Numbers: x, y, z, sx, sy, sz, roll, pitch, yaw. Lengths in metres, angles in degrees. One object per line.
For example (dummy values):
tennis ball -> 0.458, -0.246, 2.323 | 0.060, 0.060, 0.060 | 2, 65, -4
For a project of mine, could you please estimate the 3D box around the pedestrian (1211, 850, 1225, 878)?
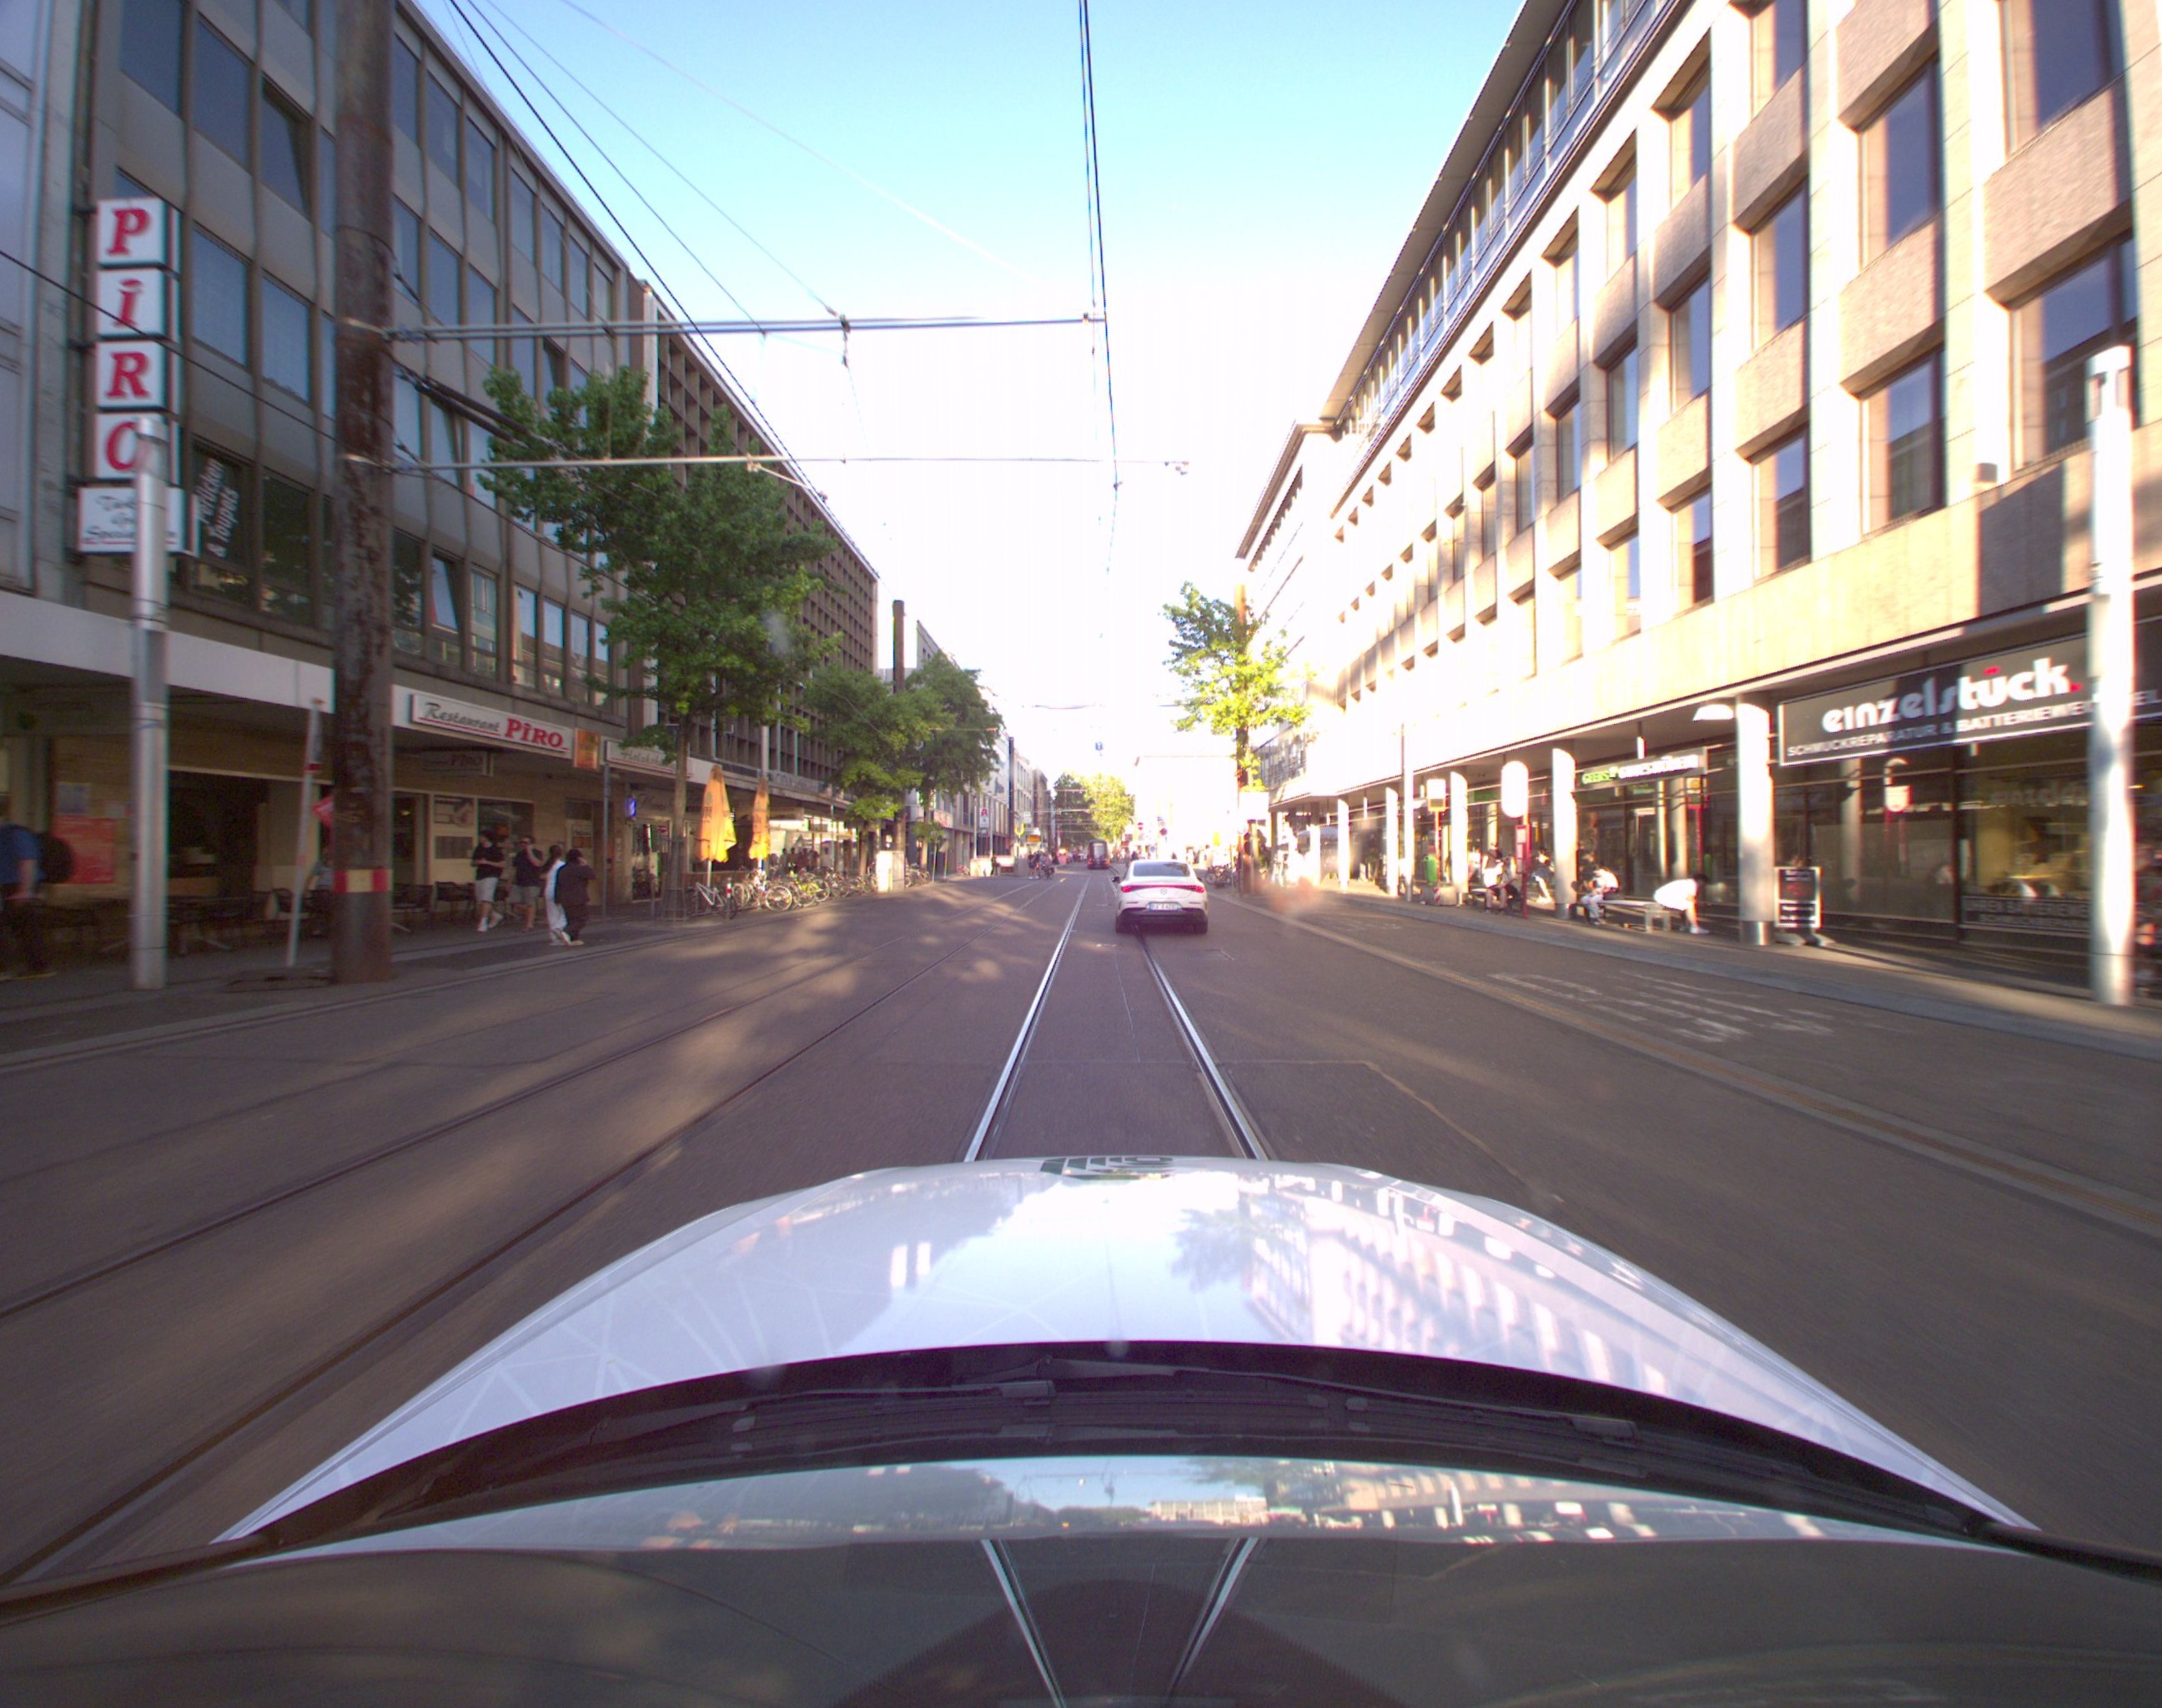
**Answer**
pedestrian -> 8.836, 0.623, 52.543 | 0.746, 1.785, 0.767 | -2, 0, 0

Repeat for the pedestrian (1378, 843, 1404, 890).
pedestrian -> 10.975, 0.435, 28.804 | 0.634, 1.653, 0.781 | 0, 0, 2

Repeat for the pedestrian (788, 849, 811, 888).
pedestrian -> -11.408, 0.574, 32.977 | 0.713, 1.547, 0.683 | -1, 0, -5

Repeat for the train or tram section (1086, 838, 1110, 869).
train or tram section -> 2.109, -0.008, 99.461 | 2.685, 3.516, 12.548 | -1, 0, 1

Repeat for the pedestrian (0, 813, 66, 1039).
pedestrian -> -8.756, 0.548, 6.325 | 0.842, 1.741, 0.839 | 1, 0, 21

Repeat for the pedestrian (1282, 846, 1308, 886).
pedestrian -> 9.690, 0.545, 36.907 | 0.897, 1.744, 0.689 | -4, 0, 0

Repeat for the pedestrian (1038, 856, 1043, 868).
pedestrian -> -5.252, 1.049, 105.267 | 0.658, 1.599, 0.573 | -1, 0, 0

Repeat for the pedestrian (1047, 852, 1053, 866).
pedestrian -> -3.623, 0.583, 96.476 | 0.658, 1.599, 0.573 | -1, 0, 0

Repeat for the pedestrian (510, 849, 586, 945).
pedestrian -> -8.755, 0.683, 13.408 | 0.620, 1.509, 0.833 | 2, 0, 2

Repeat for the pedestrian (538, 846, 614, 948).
pedestrian -> -8.051, 0.666, 13.014 | 0.620, 1.550, 0.852 | 2, 0, 2

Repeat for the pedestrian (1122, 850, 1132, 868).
pedestrian -> 4.683, 0.542, 83.414 | 0.957, 1.785, 0.804 | -2, 0, 0

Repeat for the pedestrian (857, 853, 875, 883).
pedestrian -> -12.686, 0.814, 48.059 | 0.813, 1.762, 0.779 | -1, 0, -1

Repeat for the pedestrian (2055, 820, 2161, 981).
pedestrian -> 11.626, 0.487, 8.981 | 0.741, 1.700, 0.858 | 0, 0, 1

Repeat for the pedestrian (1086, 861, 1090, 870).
pedestrian -> 1.244, 1.956, 141.380 | 0.602, 1.630, 0.531 | -1, 0, 1

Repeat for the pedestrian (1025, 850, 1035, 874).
pedestrian -> -4.059, 0.624, 65.346 | 0.534, 1.929, 0.576 | -1, -1, 45

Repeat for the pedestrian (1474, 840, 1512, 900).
pedestrian -> 12.251, 0.460, 24.234 | 0.713, 1.741, 0.835 | 0, 0, 1

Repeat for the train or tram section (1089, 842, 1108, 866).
train or tram section -> 2.678, 0.036, 123.854 | 2.685, 3.516, 11.145 | -1, 0, 1

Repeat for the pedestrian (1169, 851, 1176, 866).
pedestrian -> 11.156, 0.516, 99.023 | 0.724, 1.785, 0.707 | 0, 0, 0

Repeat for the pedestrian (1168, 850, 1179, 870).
pedestrian -> 7.778, 0.534, 68.692 | 0.834, 1.662, 0.786 | -1, 0, 3

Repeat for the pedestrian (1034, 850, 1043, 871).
pedestrian -> -3.617, 0.558, 68.632 | 0.544, 1.760, 0.524 | -1, 0, 29

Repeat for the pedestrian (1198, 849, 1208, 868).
pedestrian -> 11.337, 0.402, 75.688 | 0.815, 1.685, 0.804 | -2, 0, 0

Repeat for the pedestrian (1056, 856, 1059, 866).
pedestrian -> -3.675, 1.050, 125.936 | 0.412, 1.630, 0.606 | -1, 0, 1

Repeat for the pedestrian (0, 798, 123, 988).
pedestrian -> -11.305, 0.381, 8.693 | 0.798, 1.923, 1.070 | 2, 0, -2

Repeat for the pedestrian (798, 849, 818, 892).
pedestrian -> -11.482, 0.690, 34.221 | 0.717, 1.767, 0.679 | -1, 0, -23

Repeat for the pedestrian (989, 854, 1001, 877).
pedestrian -> -6.464, 0.873, 61.362 | 0.837, 1.717, 0.783 | -1, 0, -8

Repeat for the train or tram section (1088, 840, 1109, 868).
train or tram section -> 2.405, 0.012, 112.014 | 2.685, 3.516, 12.548 | -1, 0, 1

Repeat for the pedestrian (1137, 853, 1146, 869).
pedestrian -> 7.112, 0.809, 95.856 | 0.957, 1.785, 0.804 | -2, 0, 0

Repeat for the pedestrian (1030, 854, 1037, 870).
pedestrian -> -4.372, 0.735, 75.061 | 0.613, 1.545, 0.650 | -1, 0, -1

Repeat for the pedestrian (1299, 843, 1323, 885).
pedestrian -> 10.350, 0.462, 36.651 | 0.699, 1.812, 1.033 | -4, 0, 1

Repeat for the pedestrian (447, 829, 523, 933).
pedestrian -> -10.815, 0.480, 14.810 | 0.620, 1.804, 0.934 | 2, 0, 2

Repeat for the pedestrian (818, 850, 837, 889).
pedestrian -> -11.603, 0.694, 37.264 | 0.789, 1.767, 0.533 | -1, 0, -24

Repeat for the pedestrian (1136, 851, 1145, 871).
pedestrian -> 5.110, 0.600, 69.955 | 0.744, 1.698, 0.840 | -1, 0, -2

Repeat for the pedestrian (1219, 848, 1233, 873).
pedestrian -> 10.599, 0.479, 59.457 | 0.838, 1.785, 0.804 | -2, 0, 0

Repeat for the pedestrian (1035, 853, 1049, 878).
pedestrian -> -2.722, 0.776, 56.693 | 0.901, 1.698, 0.849 | -1, 0, 1

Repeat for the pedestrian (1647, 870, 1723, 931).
pedestrian -> 10.561, 0.799, 14.265 | 0.832, 1.031, 0.697 | 0, 0, 6

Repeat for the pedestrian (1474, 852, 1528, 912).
pedestrian -> 9.885, 0.641, 19.186 | 0.836, 1.377, 0.772 | 0, 0, -21

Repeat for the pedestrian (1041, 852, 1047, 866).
pedestrian -> -4.359, 0.585, 96.406 | 0.658, 1.599, 0.573 | -1, 0, 0

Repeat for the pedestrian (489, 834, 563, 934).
pedestrian -> -10.067, 0.530, 14.811 | 0.620, 1.747, 0.934 | 2, 0, 2

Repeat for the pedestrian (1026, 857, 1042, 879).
pedestrian -> -3.233, 0.929, 55.932 | 0.952, 1.496, 0.944 | -1, 0, 2

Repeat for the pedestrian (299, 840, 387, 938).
pedestrian -> -12.007, 0.555, 13.269 | 0.620, 1.526, 0.810 | 2, 0, 1

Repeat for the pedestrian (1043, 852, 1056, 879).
pedestrian -> -2.129, 0.767, 54.733 | 0.797, 1.782, 0.849 | 1, 0, 0

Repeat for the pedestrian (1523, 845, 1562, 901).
pedestrian -> 12.925, 0.537, 22.839 | 0.640, 1.542, 0.796 | 0, 0, 1
